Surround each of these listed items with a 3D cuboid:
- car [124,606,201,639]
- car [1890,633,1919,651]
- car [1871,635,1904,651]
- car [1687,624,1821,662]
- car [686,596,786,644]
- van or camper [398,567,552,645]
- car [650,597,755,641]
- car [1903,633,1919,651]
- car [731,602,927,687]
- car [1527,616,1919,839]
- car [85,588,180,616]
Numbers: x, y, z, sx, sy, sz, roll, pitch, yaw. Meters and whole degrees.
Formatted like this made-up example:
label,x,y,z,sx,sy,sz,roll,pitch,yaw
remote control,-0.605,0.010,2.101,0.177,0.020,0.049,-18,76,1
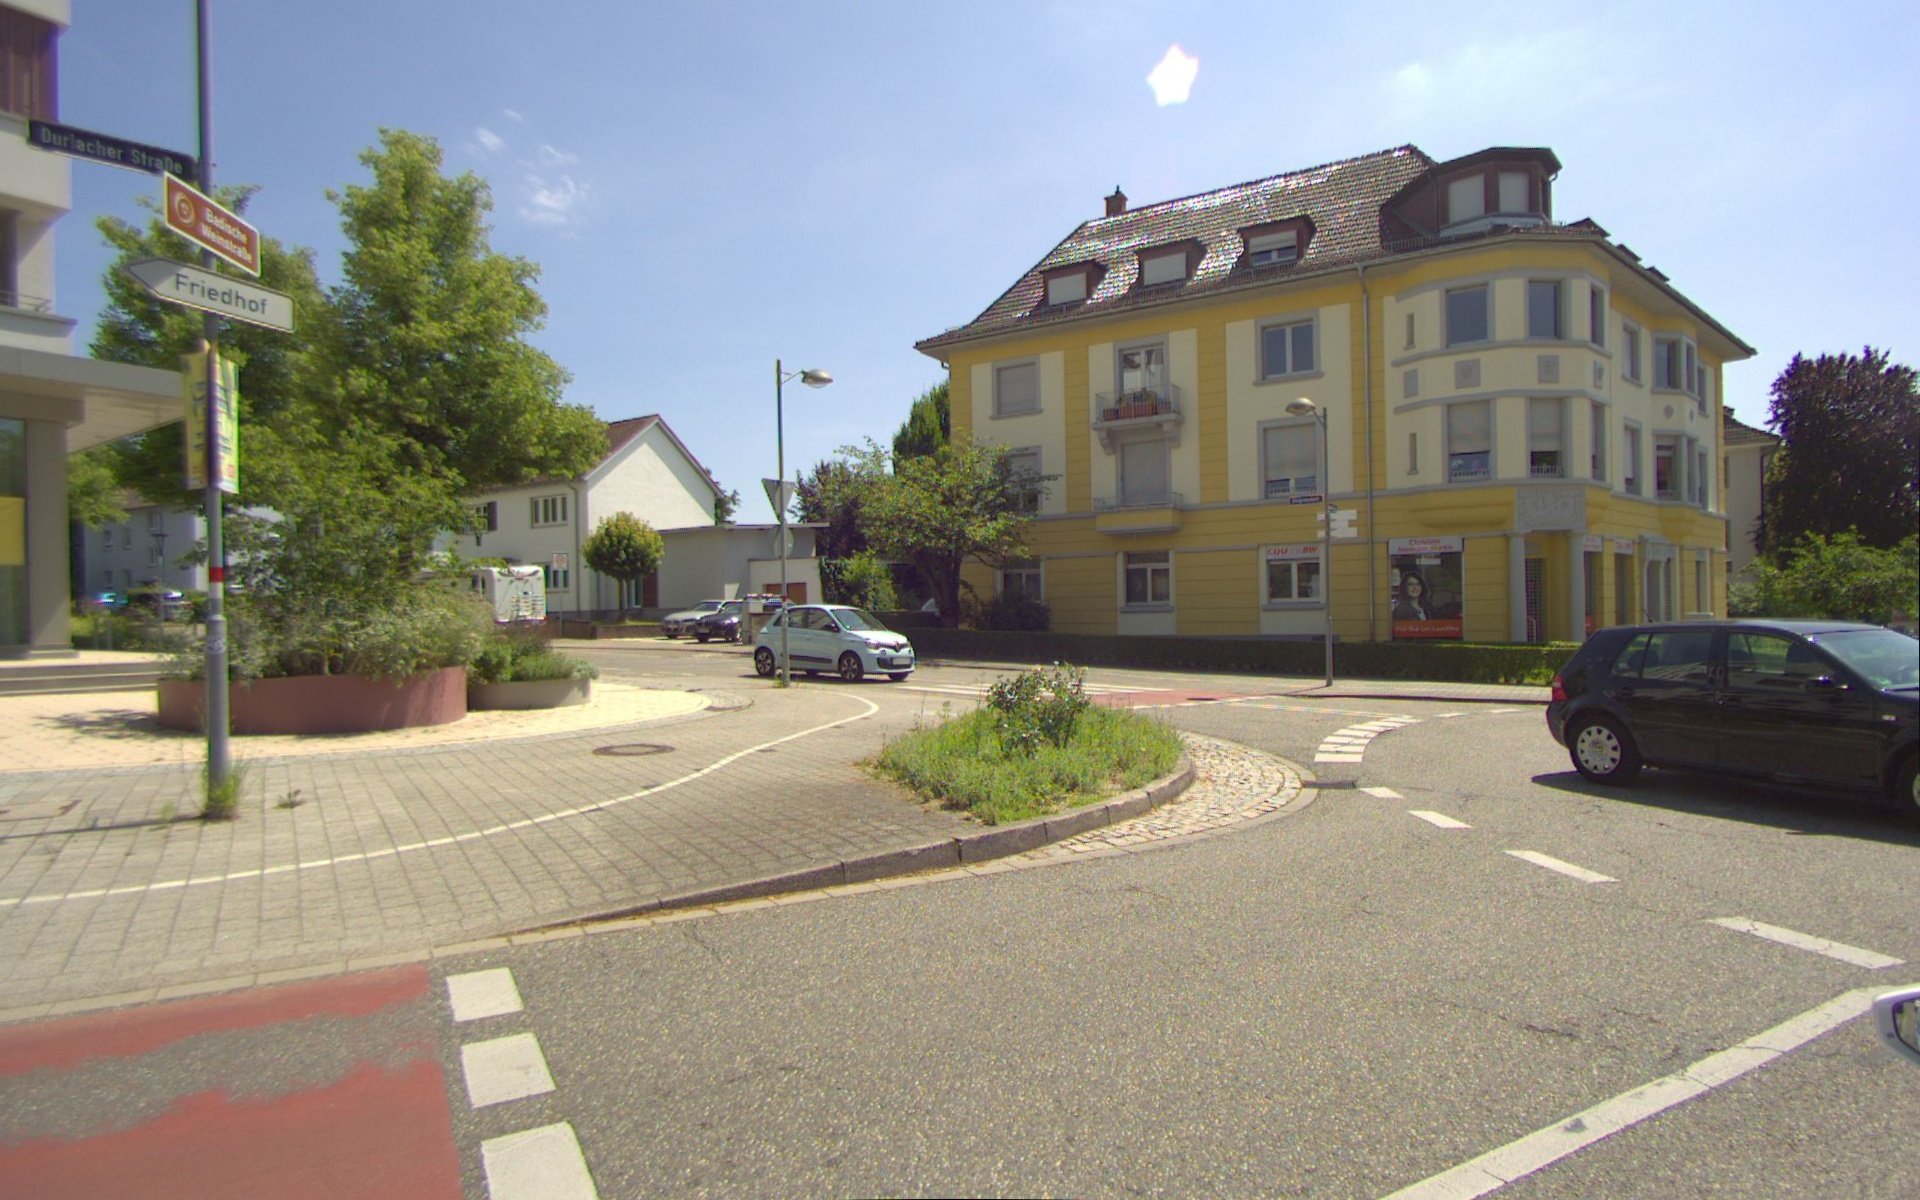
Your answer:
label,x,y,z,sx,sy,sz,roll,pitch,yaw
car,-38.989,1.091,49.081,3.923,1.525,1.752,0,-1,32
car,88.837,3.924,93.986,1.966,1.529,4.406,0,-1,34
car,95.140,4.409,103.081,1.967,1.508,3.987,2,0,35
car,34.645,1.865,43.989,4.339,1.529,1.997,0,-1,29
car,-7.930,0.705,35.965,1.721,1.607,3.993,0,-1,17
van or camper,-17.834,0.162,36.859,5.782,2.674,2.269,0,2,31
car,-9.879,0.704,38.838,1.724,1.607,3.987,0,-1,27
car,85.413,3.689,89.017,1.966,1.529,4.406,0,-1,34
car,-2.839,0.867,21.357,4.093,1.545,1.655,1,1,35
car,6.853,0.877,7.947,1.689,1.466,4.042,-1,-1,-18
car,-50.760,0.172,61.673,1.782,1.630,4.117,1,-1,24
